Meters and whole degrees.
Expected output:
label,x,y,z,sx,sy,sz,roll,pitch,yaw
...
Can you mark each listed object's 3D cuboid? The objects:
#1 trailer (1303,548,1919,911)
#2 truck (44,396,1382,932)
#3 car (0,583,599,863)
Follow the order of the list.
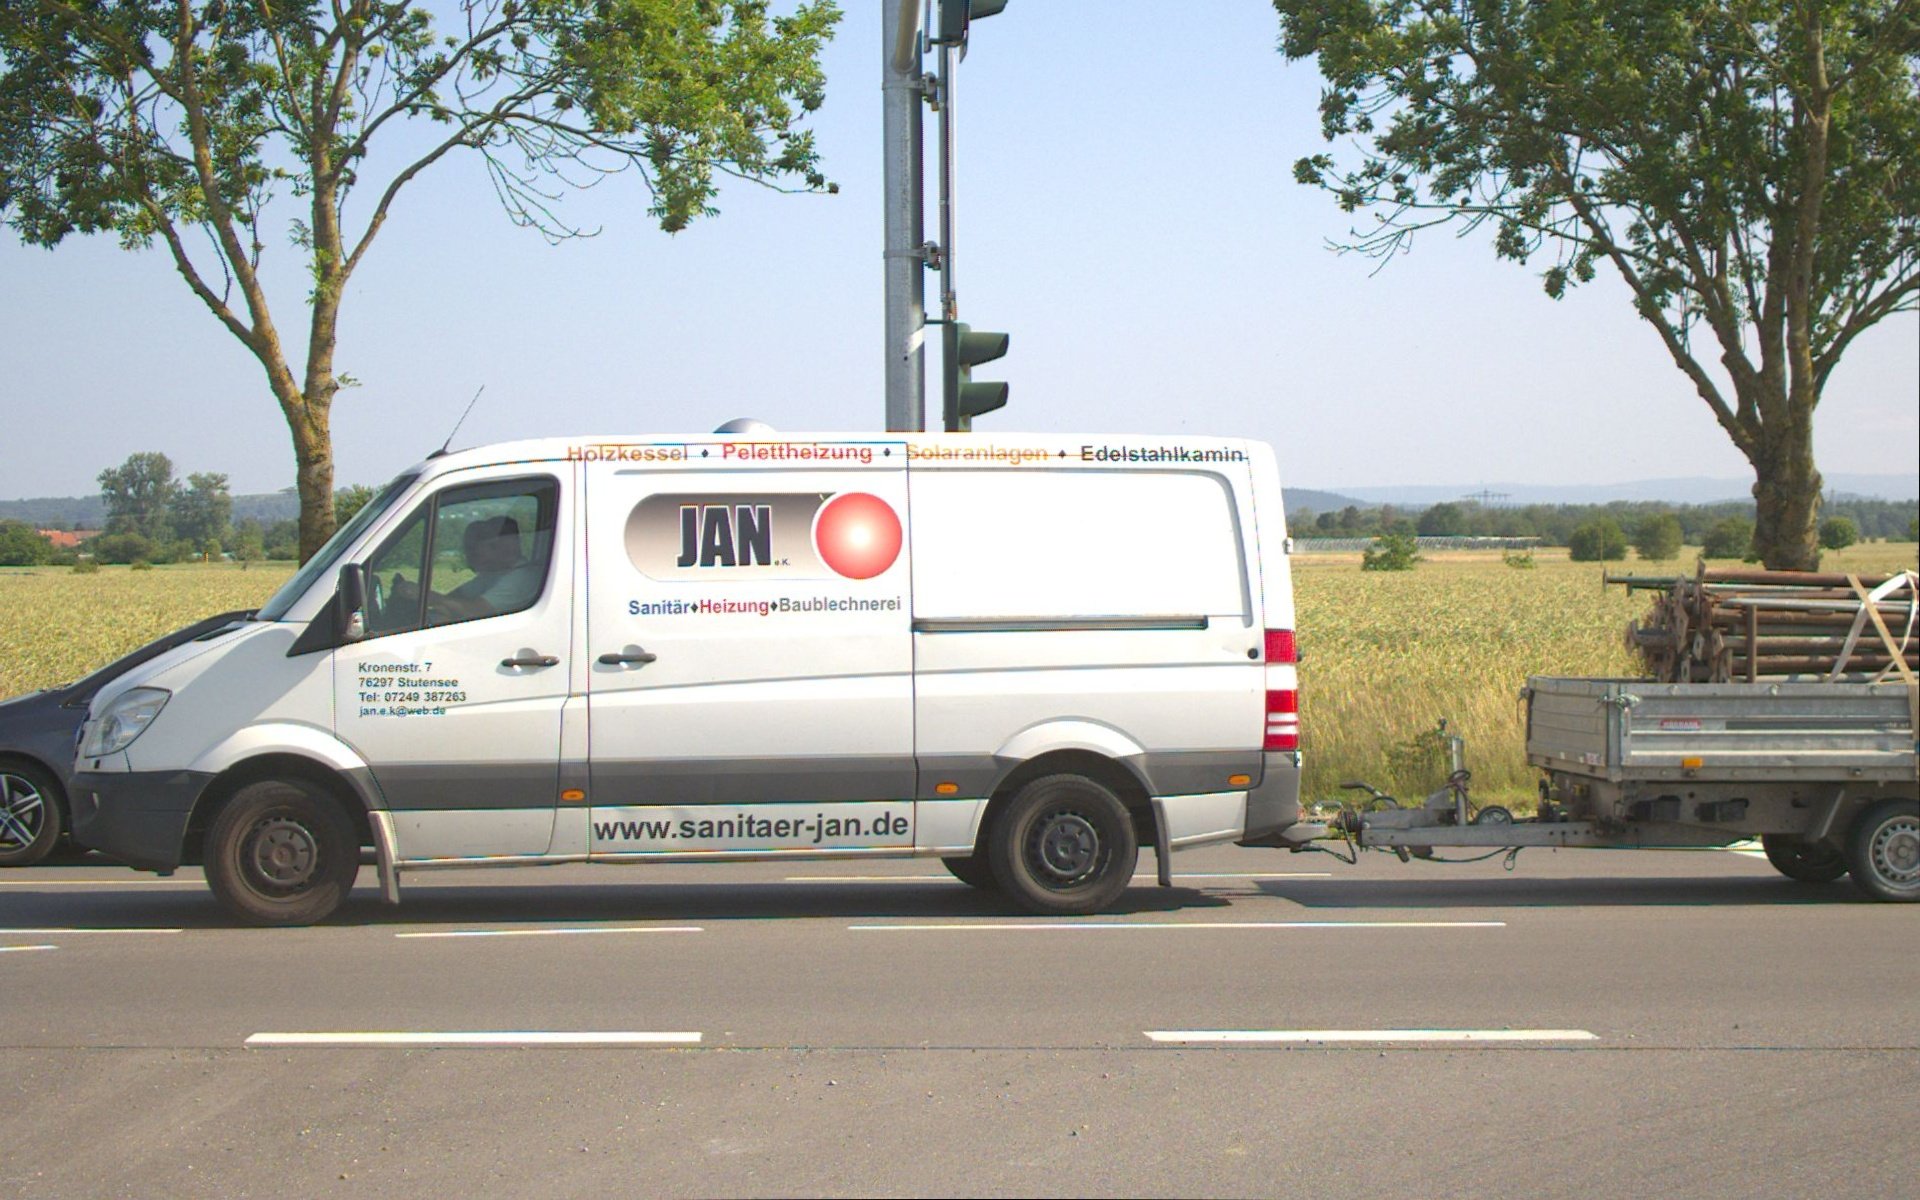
label,x,y,z,sx,sy,sz,roll,pitch,yaw
trailer,4.383,0.618,17.566,4.995,1.732,1.981,0,0,-3
truck,-1.209,0.285,16.878,6.176,2.396,2.072,0,0,-9
car,-4.293,0.747,21.124,3.987,1.620,1.890,0,-2,-1
